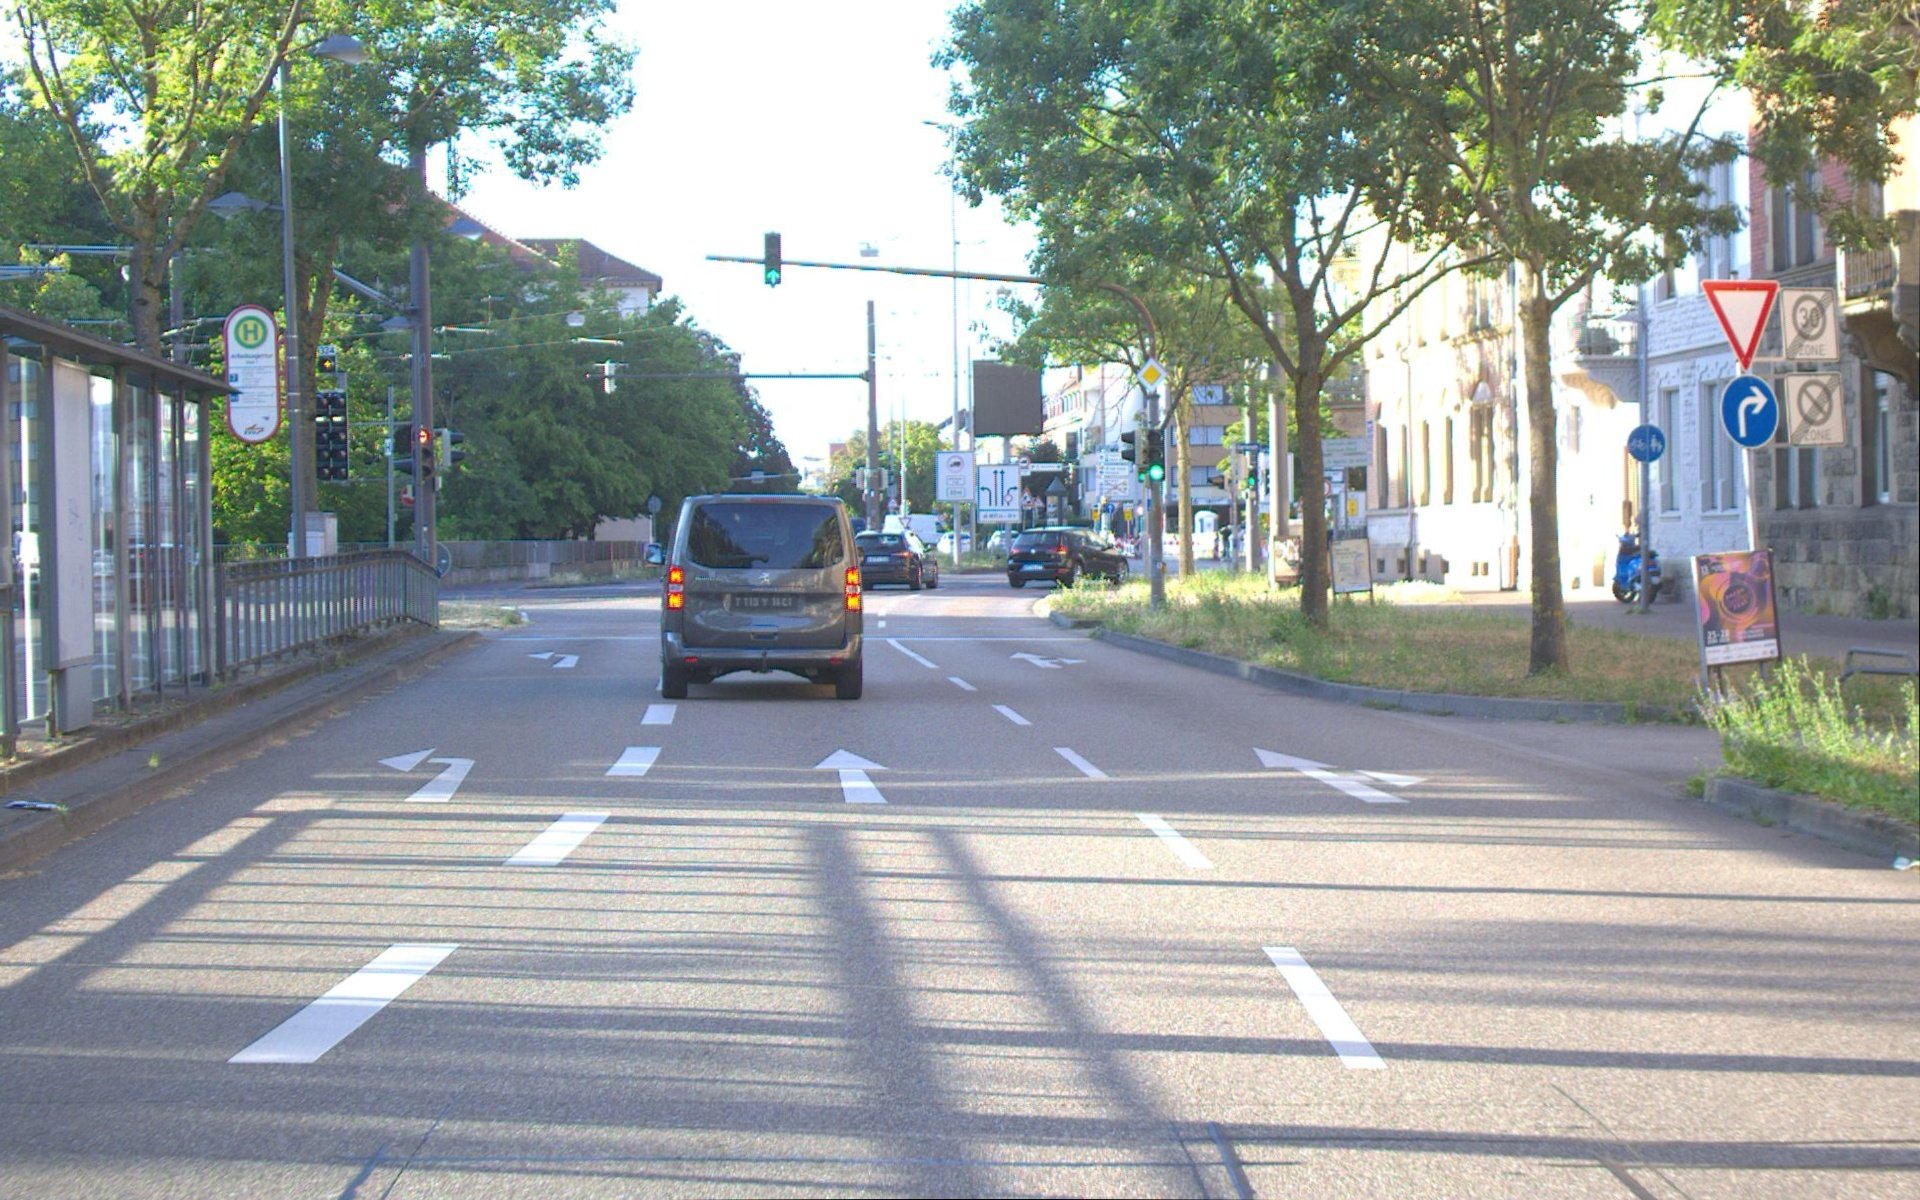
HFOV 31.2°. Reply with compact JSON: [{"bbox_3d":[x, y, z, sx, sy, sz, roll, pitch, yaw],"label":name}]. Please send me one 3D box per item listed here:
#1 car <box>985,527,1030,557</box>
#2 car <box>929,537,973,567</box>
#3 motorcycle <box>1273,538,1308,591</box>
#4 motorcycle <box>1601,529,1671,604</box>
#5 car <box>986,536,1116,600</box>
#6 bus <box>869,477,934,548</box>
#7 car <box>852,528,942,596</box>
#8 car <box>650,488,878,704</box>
[{"bbox_3d":[2.657,-3.292,194.815,1.993,1.651,4.300,-1,1,-6],"label":"car"},{"bbox_3d":[-0.534,-2.724,193.996,1.993,1.651,4.300,-1,1,-6],"label":"car"},{"bbox_3d":[6.557,-0.714,68.285,0.604,1.040,1.744,-1,1,3],"label":"motorcycle"},{"bbox_3d":[11.160,-0.559,56.802,0.553,1.210,2.073,1,1,-6],"label":"motorcycle"},{"bbox_3d":[2.243,-0.795,83.472,1.995,1.505,3.996,1,1,20],"label":"car"},{"bbox_3d":[-4.009,-5.839,231.356,3.289,4.601,10.002,1,1,-7],"label":"bus"},{"bbox_3d":[-1.463,-0.905,80.709,1.846,1.539,3.631,0,1,3],"label":"car"},{"bbox_3d":[-1.920,-0.073,32.879,1.993,1.894,4.300,1,1,-5],"label":"car"}]
